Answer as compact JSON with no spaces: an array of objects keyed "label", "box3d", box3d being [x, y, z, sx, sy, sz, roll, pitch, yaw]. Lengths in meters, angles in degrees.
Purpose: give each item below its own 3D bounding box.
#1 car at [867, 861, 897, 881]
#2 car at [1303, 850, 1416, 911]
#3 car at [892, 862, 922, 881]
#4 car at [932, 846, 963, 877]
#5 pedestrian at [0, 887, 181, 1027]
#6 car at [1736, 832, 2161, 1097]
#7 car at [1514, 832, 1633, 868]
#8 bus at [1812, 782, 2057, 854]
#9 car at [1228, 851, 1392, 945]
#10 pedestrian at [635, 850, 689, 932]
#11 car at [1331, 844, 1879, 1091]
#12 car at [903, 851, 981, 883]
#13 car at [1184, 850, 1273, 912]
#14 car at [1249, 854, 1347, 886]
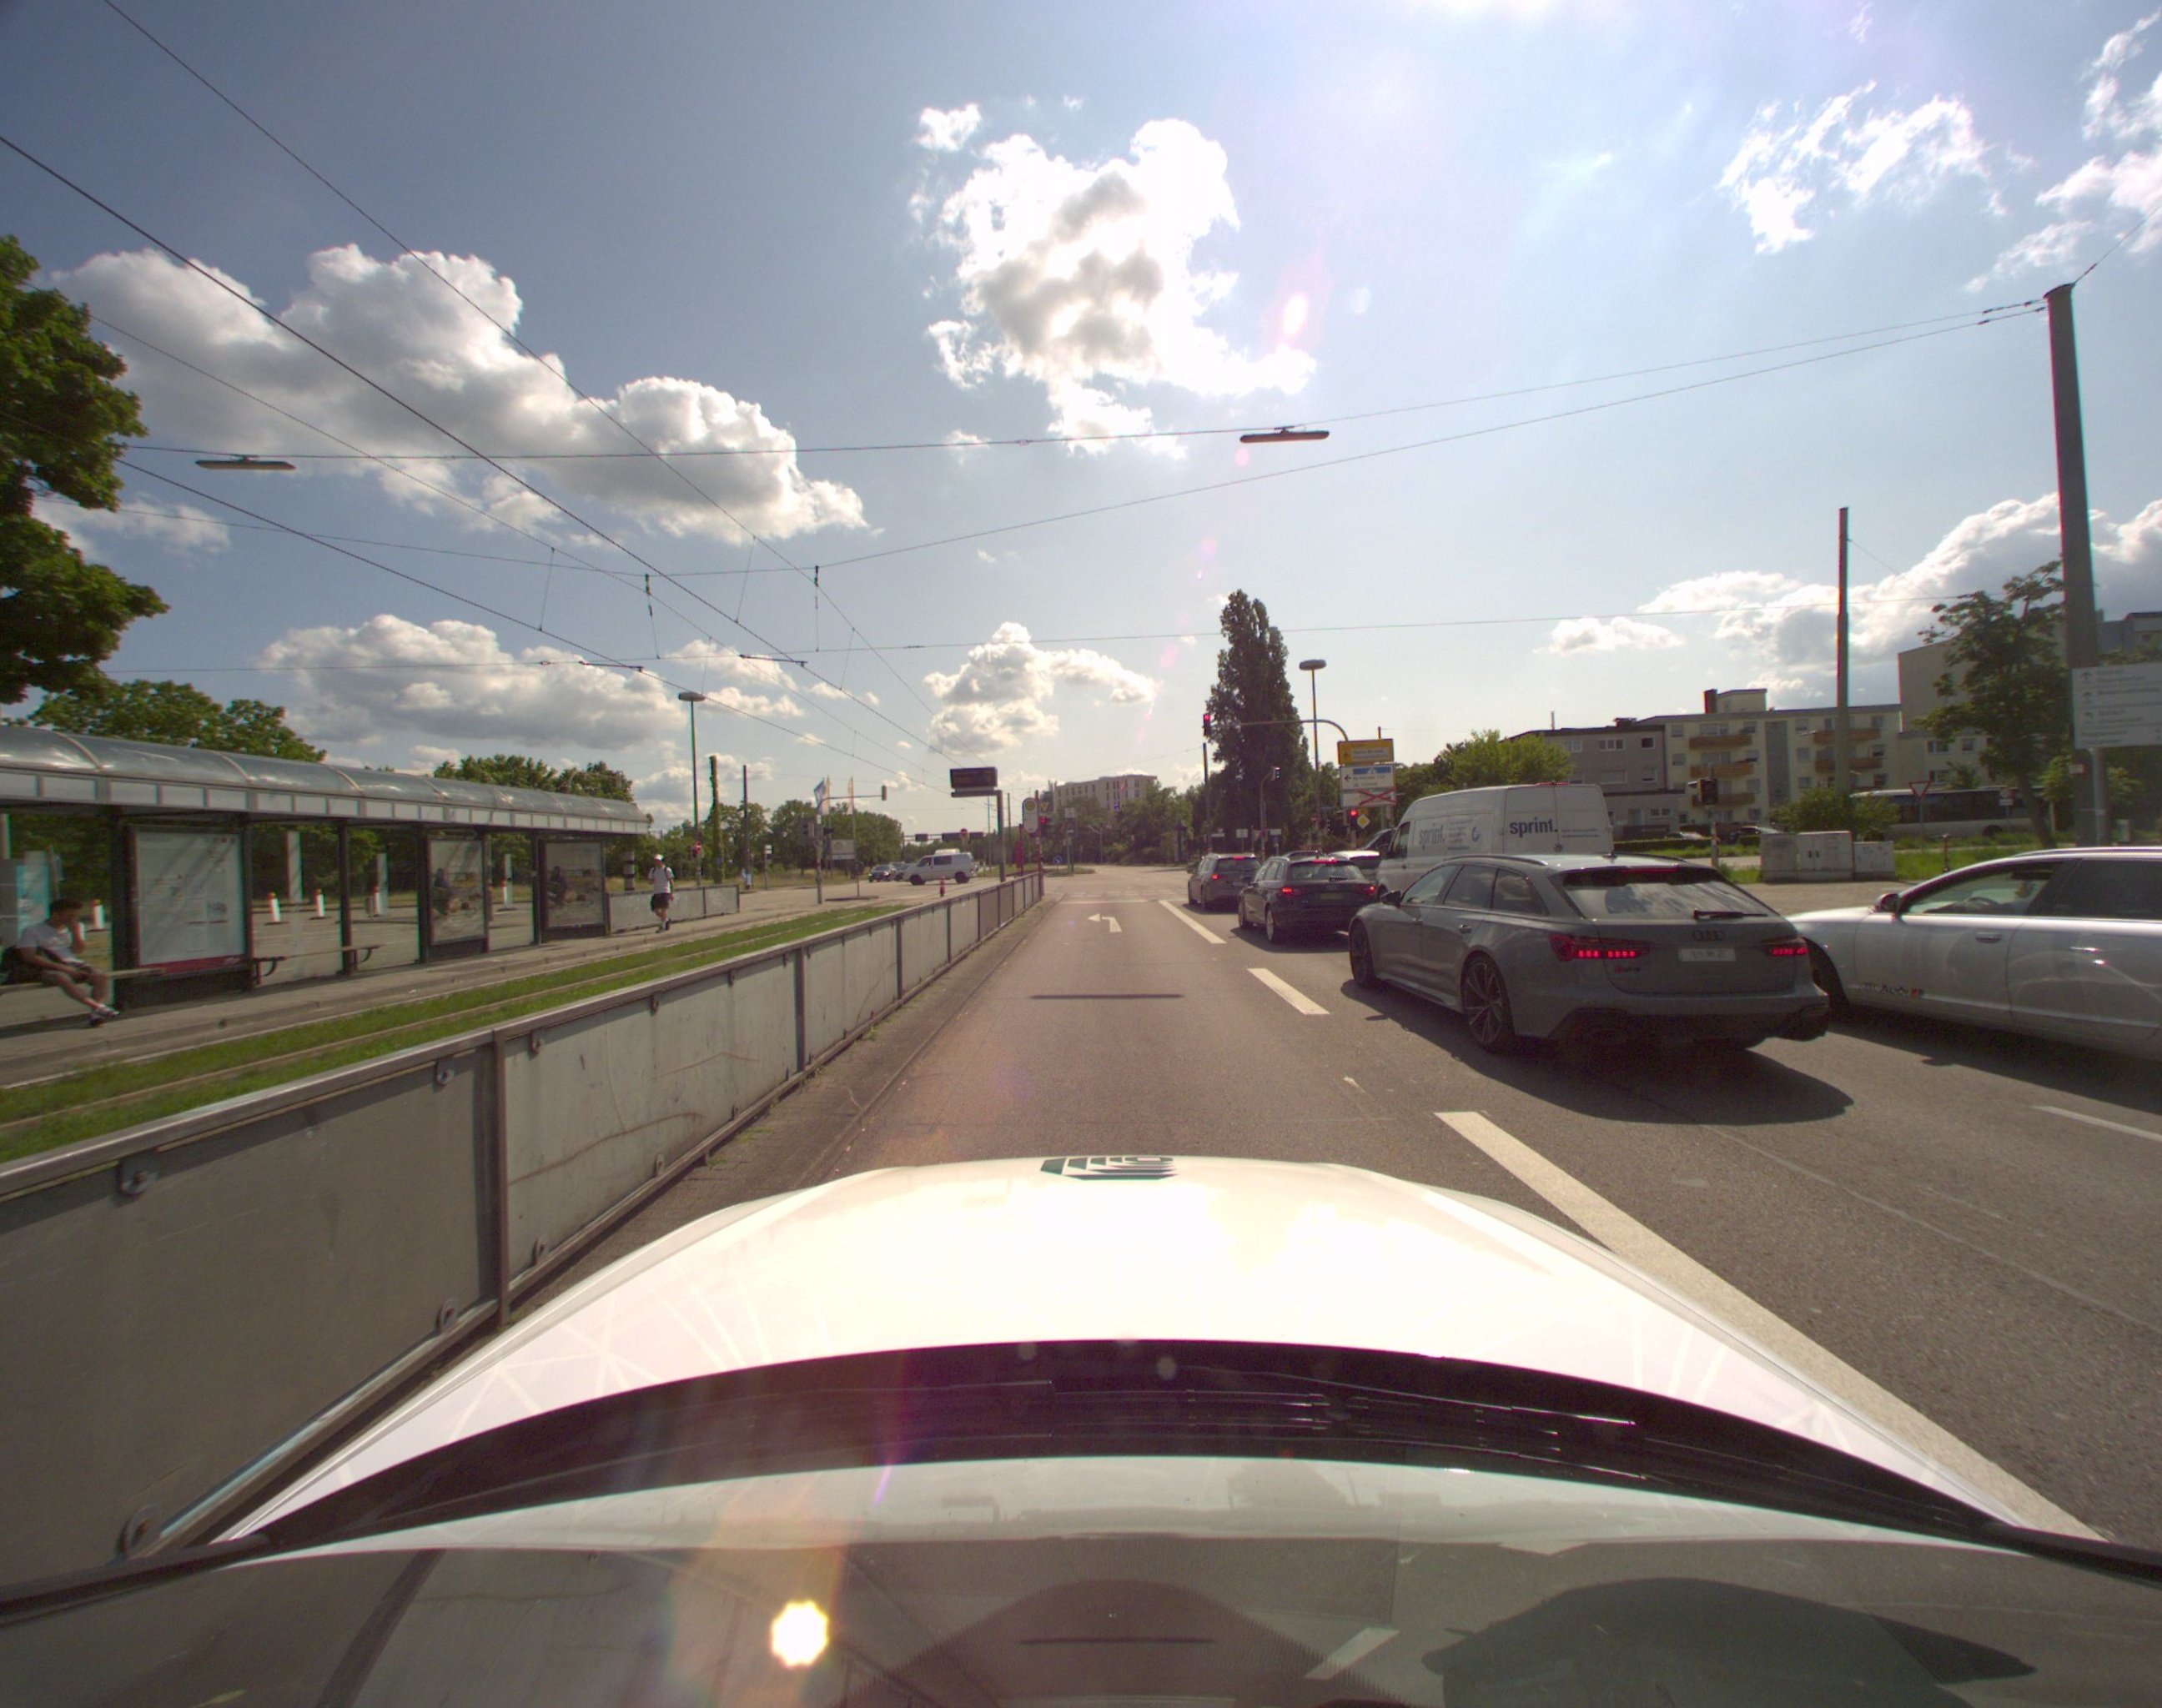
[{"label":"car","box3d":[-17.623,1.505,72.250,1.858,1.651,3.996,-1,0,-3]},{"label":"car","box3d":[7.284,0.633,21.757,1.737,1.448,4.383,-1,0,3]},{"label":"car","box3d":[-14.868,1.507,69.921,1.892,1.541,3.726,-1,0,-2]},{"label":"car","box3d":[-11.885,0.663,72.765,1.988,2.606,4.876,-1,0,-1]},{"label":"pedestrian","box3d":[-10.591,1.056,8.666,1.055,1.376,0.860,-1,-1,1]},{"label":"car","box3d":[7.045,0.606,5.384,1.848,1.492,4.537,-1,0,1]},{"label":"car","box3d":[24.467,-0.217,40.640,4.651,1.549,2.004,-3,0,6]},{"label":"bus","box3d":[48.211,-1.983,46.246,10.291,3.591,2.818,-2,0,5]},{"label":"car","box3d":[3.891,0.683,14.604,1.863,1.419,4.101,-1,0,1]},{"label":"pedestrian","box3d":[-9.516,0.832,18.538,0.805,1.795,0.708,-2,0,-1]},{"label":"car","box3d":[3.877,0.680,7.293,1.880,1.448,4.829,-1,0,1]},{"label":"car","box3d":[-9.070,0.848,53.269,4.660,1.936,2.000,-2,0,1]},{"label":"car","box3d":[3.928,0.662,22.374,1.738,1.499,4.381,-1,0,1]},{"label":"car","box3d":[10.779,0.790,40.722,4.441,1.514,2.001,-1,-1,3]}]
